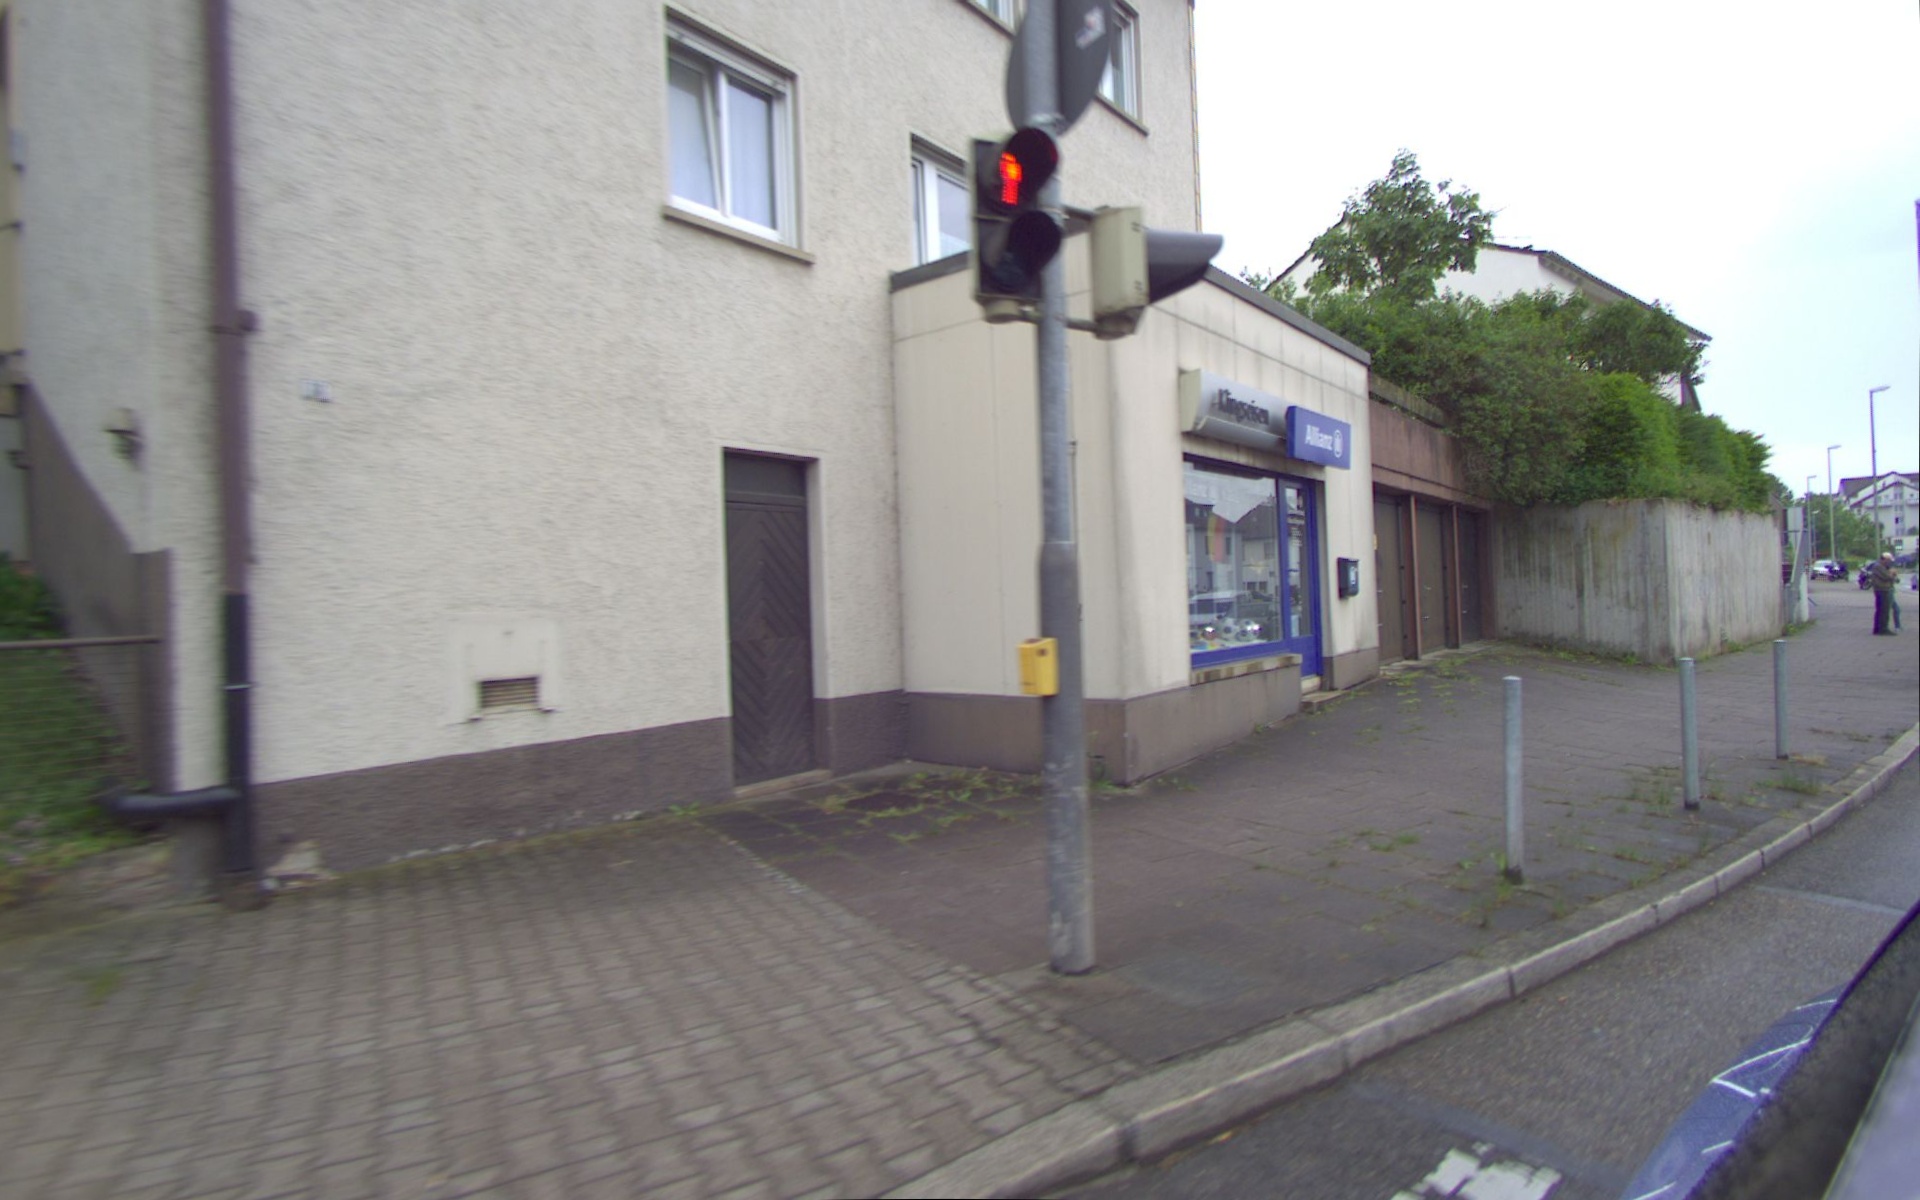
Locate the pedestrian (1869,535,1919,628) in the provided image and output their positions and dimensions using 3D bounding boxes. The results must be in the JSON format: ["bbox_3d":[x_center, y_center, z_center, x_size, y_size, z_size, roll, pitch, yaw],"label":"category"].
[{"bbox_3d":[20.927,-0.419,22.642,0.722,2.038,0.797,-3,1,-43],"label":"pedestrian"}]

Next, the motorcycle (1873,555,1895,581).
[{"bbox_3d":[49.492,-1.708,54.202,0.691,1.341,2.446,0,2,38],"label":"motorcycle"}]

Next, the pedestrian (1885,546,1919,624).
[{"bbox_3d":[22.321,-0.372,23.776,0.995,1.802,0.794,-3,3,-44],"label":"pedestrian"}]

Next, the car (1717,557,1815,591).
[{"bbox_3d":[39.461,-1.275,49.677,3.620,1.503,1.790,-1,1,36],"label":"car"}]

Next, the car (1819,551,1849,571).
[{"bbox_3d":[70.000,-3.136,81.125,1.730,1.508,3.944,0,2,40],"label":"car"}]
